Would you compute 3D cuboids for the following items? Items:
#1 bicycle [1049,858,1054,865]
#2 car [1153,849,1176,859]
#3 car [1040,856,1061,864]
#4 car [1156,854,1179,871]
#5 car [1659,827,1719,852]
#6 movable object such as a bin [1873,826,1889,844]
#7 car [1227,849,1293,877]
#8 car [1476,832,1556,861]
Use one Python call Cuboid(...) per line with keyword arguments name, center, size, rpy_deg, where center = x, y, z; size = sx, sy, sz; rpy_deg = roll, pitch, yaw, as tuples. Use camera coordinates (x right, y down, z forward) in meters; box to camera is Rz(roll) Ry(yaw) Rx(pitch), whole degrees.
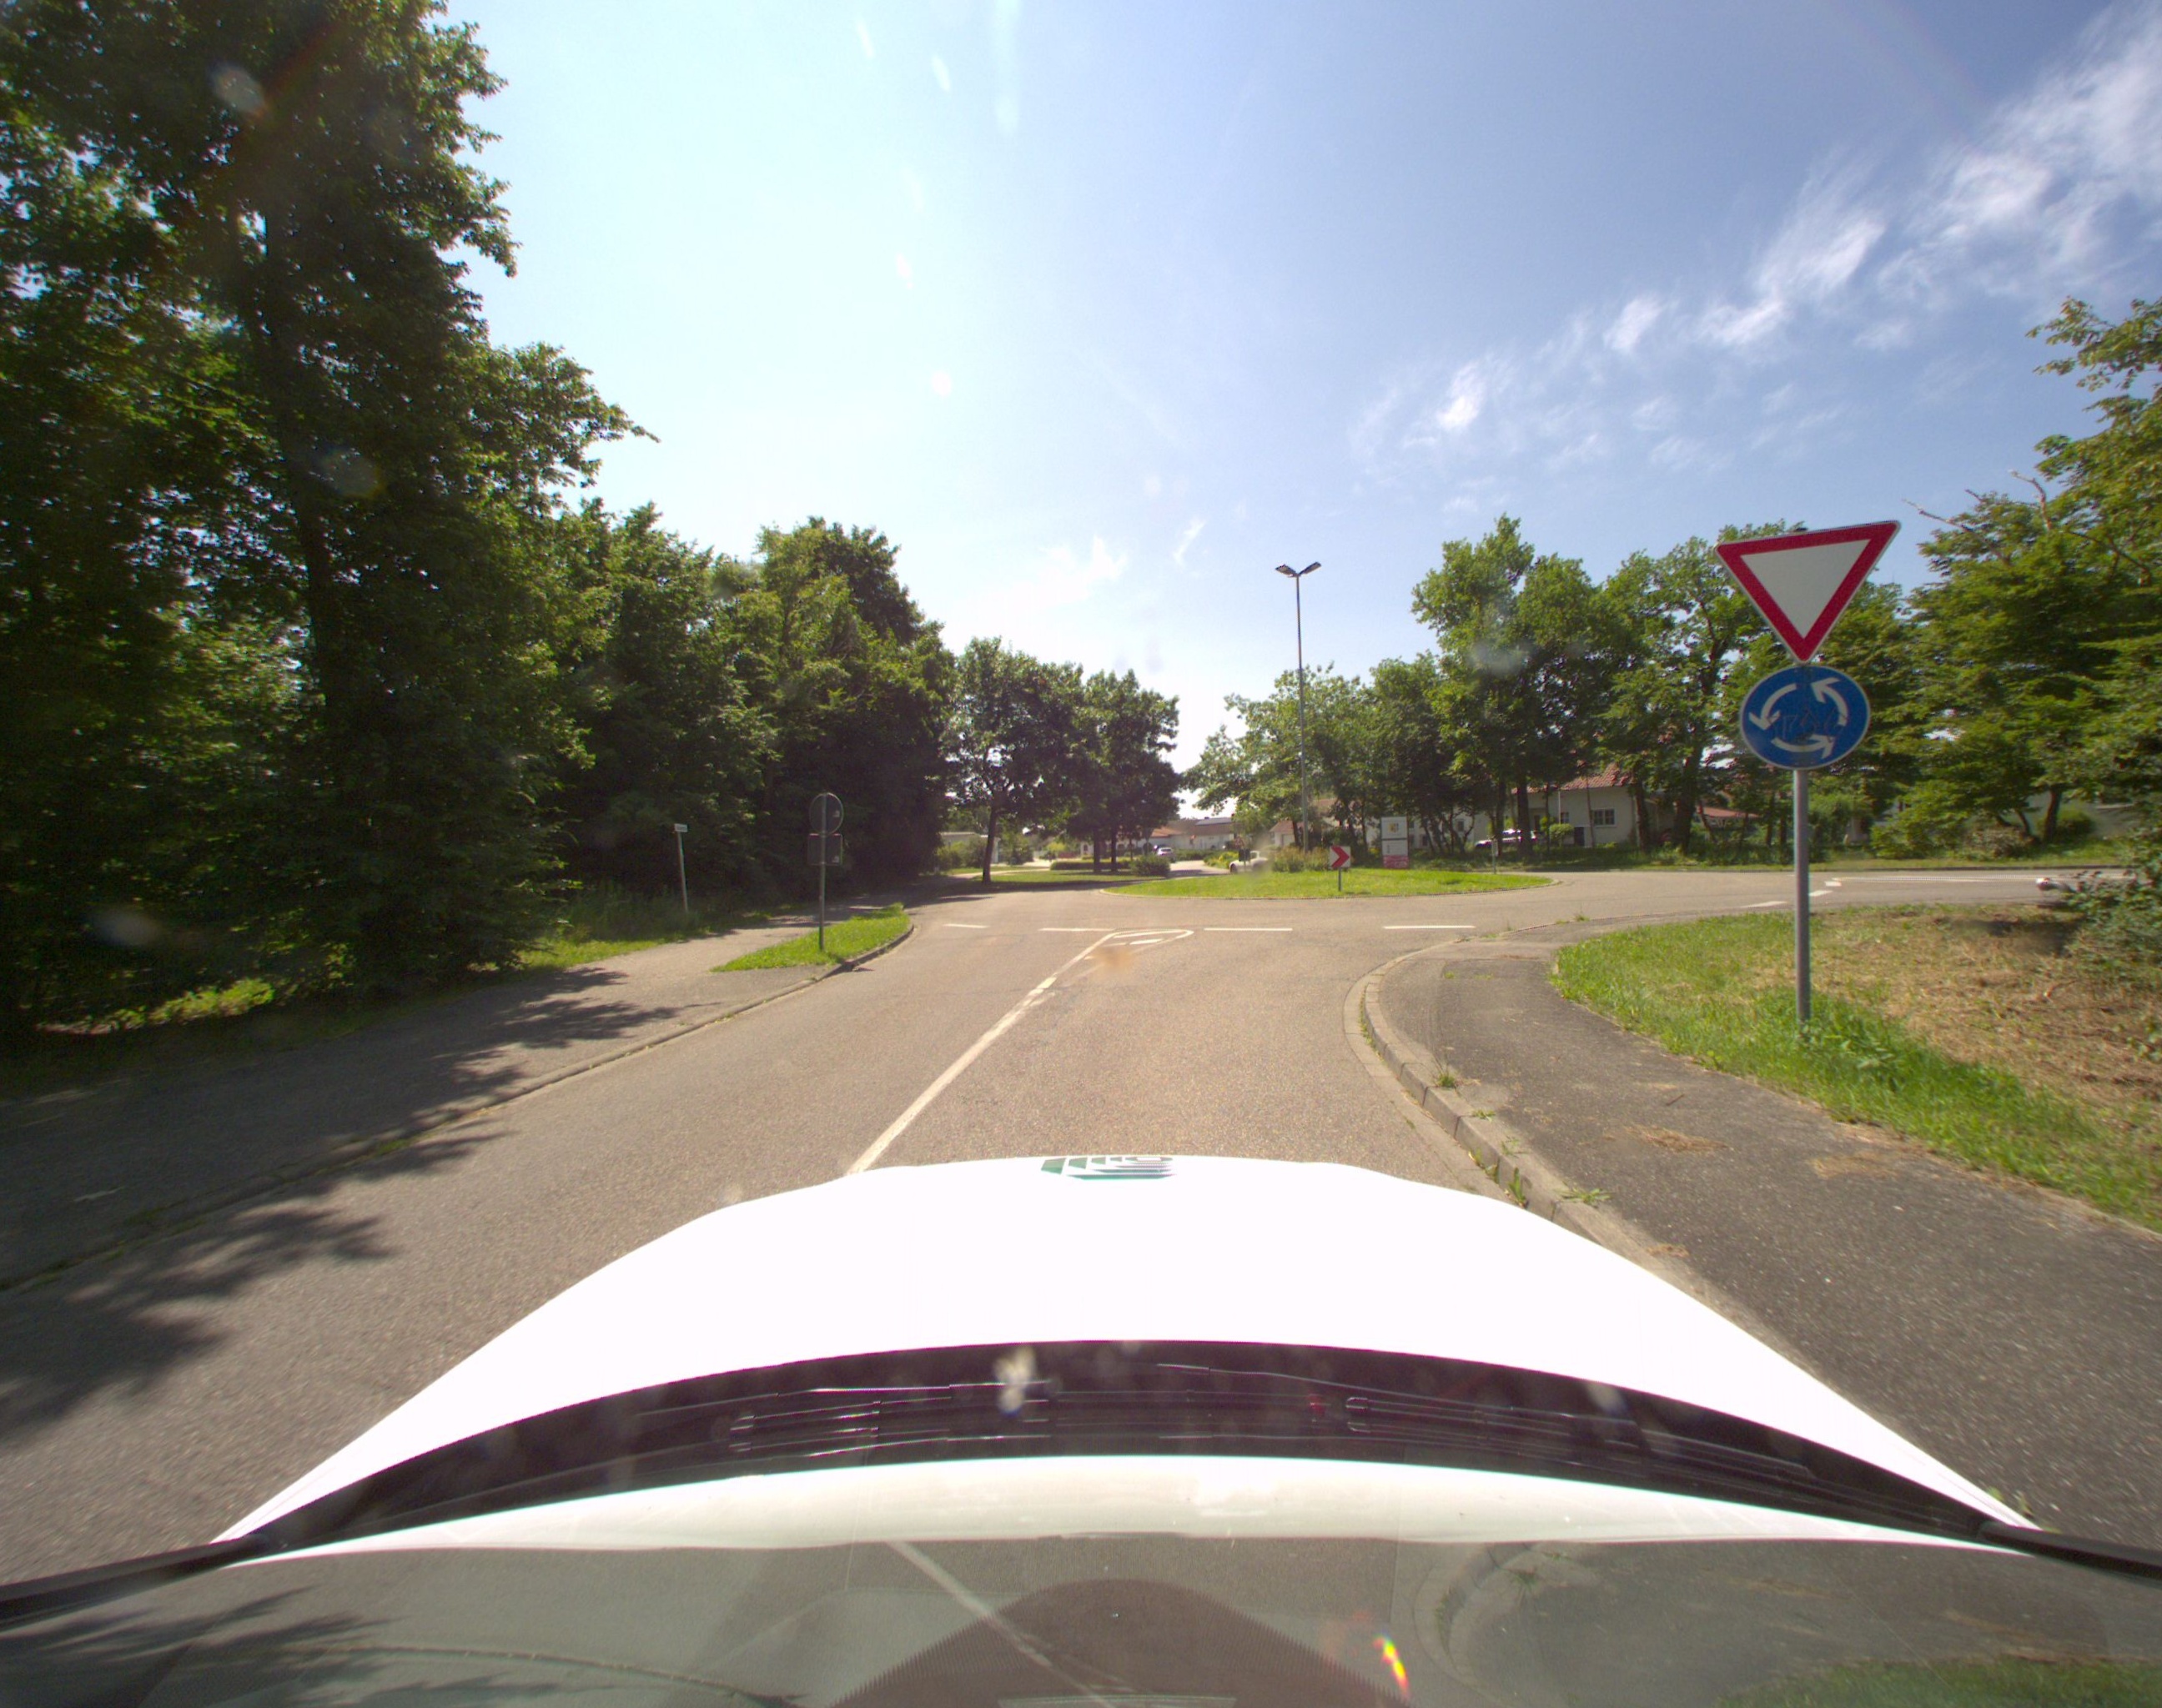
Cuboid(name="bicycle", center=(-3.700, 0.943, 102.280), size=(0.595, 0.929, 1.619), rpy_deg=(-2, 0, -2))
Cuboid(name="car", center=(13.906, -0.030, 135.697), size=(3.859, 1.542, 1.831), rpy_deg=(-2, 0, -45))
Cuboid(name="car", center=(-5.282, 1.000, 142.063), size=(2.007, 1.288, 3.960), rpy_deg=(-2, 0, -31))
Cuboid(name="car", center=(8.134, 0.742, 76.999), size=(1.623, 1.486, 3.998), rpy_deg=(-3, 0, -1))
Cuboid(name="car", center=(37.426, -0.911, 50.107), size=(3.706, 1.385, 1.668), rpy_deg=(-2, 0, -31))
Cuboid(name="movable object such as a bin", center=(51.306, -1.209, 52.231), size=(0.459, 1.112, 0.652), rpy_deg=(-2, 0, -35))
Cuboid(name="car", center=(8.932, 0.434, 40.882), size=(1.619, 1.288, 3.535), rpy_deg=(-2, 0, -18))
Cuboid(name="car", center=(27.394, -0.440, 51.414), size=(1.673, 1.705, 4.099), rpy_deg=(-2, 0, -35))
